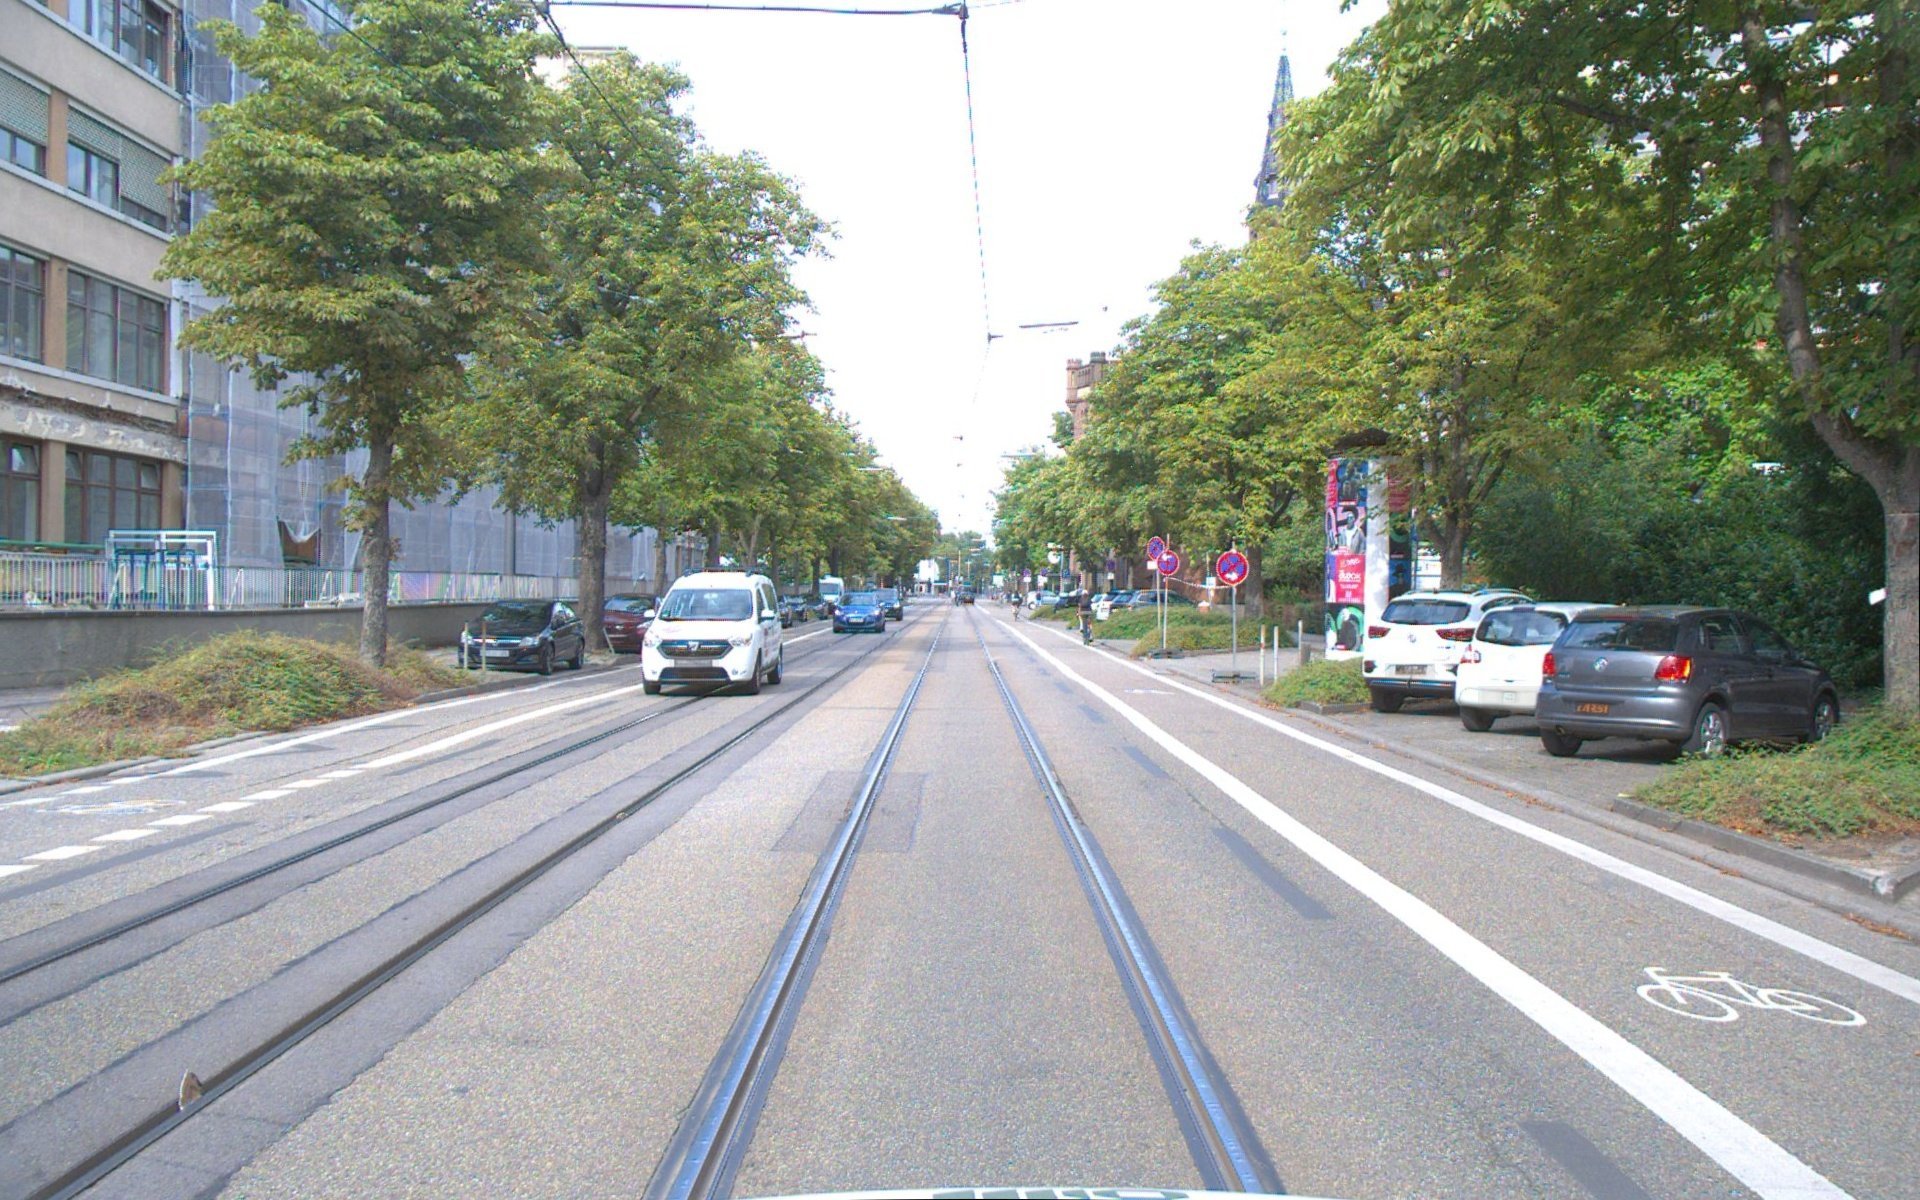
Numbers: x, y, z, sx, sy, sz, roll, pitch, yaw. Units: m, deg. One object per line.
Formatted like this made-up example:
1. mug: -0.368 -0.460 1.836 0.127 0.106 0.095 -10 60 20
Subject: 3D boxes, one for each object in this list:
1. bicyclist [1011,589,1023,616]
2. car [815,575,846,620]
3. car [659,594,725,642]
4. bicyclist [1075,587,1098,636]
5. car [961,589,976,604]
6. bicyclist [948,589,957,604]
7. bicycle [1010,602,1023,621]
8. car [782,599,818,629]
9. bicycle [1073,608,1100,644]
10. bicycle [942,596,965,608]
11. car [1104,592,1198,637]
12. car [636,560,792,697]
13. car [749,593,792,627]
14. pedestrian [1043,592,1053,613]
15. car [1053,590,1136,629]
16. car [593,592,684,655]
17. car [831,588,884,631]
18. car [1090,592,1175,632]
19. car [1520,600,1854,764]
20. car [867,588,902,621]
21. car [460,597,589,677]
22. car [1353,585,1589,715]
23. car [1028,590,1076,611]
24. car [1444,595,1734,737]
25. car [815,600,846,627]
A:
1. bicyclist: 3.216 0.162 93.857 0.645 1.522 0.929 1 0 0
2. car: -8.285 -0.161 106.356 1.686 2.751 5.468 1 0 -2
3. car: -8.380 0.537 51.973 1.558 1.427 3.961 1 0 -2
4. bicyclist: 3.876 0.352 50.556 0.581 1.485 0.875 1 0 -2
5. car: 1.033 -0.467 204.488 1.758 1.855 4.677 1 0 -1
6. bicyclist: -0.751 -0.339 168.540 0.828 1.531 0.769 1 0 7
7. bicycle: 3.205 0.658 93.822 0.650 1.062 1.841 1 0 0
8. car: -7.988 0.677 82.808 1.558 1.427 3.961 1 0 -2
9. bicycle: 3.866 0.785 50.554 0.581 1.062 1.977 1 0 -2
10. bicycle: -0.664 0.201 168.525 2.226 1.210 0.769 1 0 7
11. car: 7.150 0.526 61.689 1.654 1.630 3.621 0 0 44
12. car: -3.704 0.386 25.593 1.696 1.917 4.378 1 0 1
13. car: -8.293 0.434 72.585 1.558 1.427 3.961 1 0 -2
14. pedestrian: 7.687 0.241 144.717 0.732 1.821 0.731 1 -1 15
15. car: 5.761 0.409 70.614 1.654 1.630 3.621 0 0 44
16. car: -8.263 0.566 42.774 1.602 1.522 3.962 1 0 -1
17. car: -3.767 0.333 61.212 1.697 1.522 4.378 0 1 0
18. car: 7.148 0.502 68.487 1.654 1.630 3.621 0 0 44
19. car: 7.308 0.745 16.504 3.612 1.444 1.658 1 0 -40
20. car: -3.918 0.205 86.223 1.697 1.657 4.377 -1 0 -1
21. car: -8.378 0.678 32.113 1.558 1.427 3.961 1 0 -2
22. car: 7.051 0.636 22.644 1.654 1.630 3.621 0 0 44
23. car: 8.070 0.032 144.868 3.910 1.722 1.998 1 0 -6
24. car: 7.438 0.721 19.433 3.612 1.500 1.658 1 0 -40
25. car: -7.283 0.733 93.012 1.558 1.427 3.961 1 0 -2
